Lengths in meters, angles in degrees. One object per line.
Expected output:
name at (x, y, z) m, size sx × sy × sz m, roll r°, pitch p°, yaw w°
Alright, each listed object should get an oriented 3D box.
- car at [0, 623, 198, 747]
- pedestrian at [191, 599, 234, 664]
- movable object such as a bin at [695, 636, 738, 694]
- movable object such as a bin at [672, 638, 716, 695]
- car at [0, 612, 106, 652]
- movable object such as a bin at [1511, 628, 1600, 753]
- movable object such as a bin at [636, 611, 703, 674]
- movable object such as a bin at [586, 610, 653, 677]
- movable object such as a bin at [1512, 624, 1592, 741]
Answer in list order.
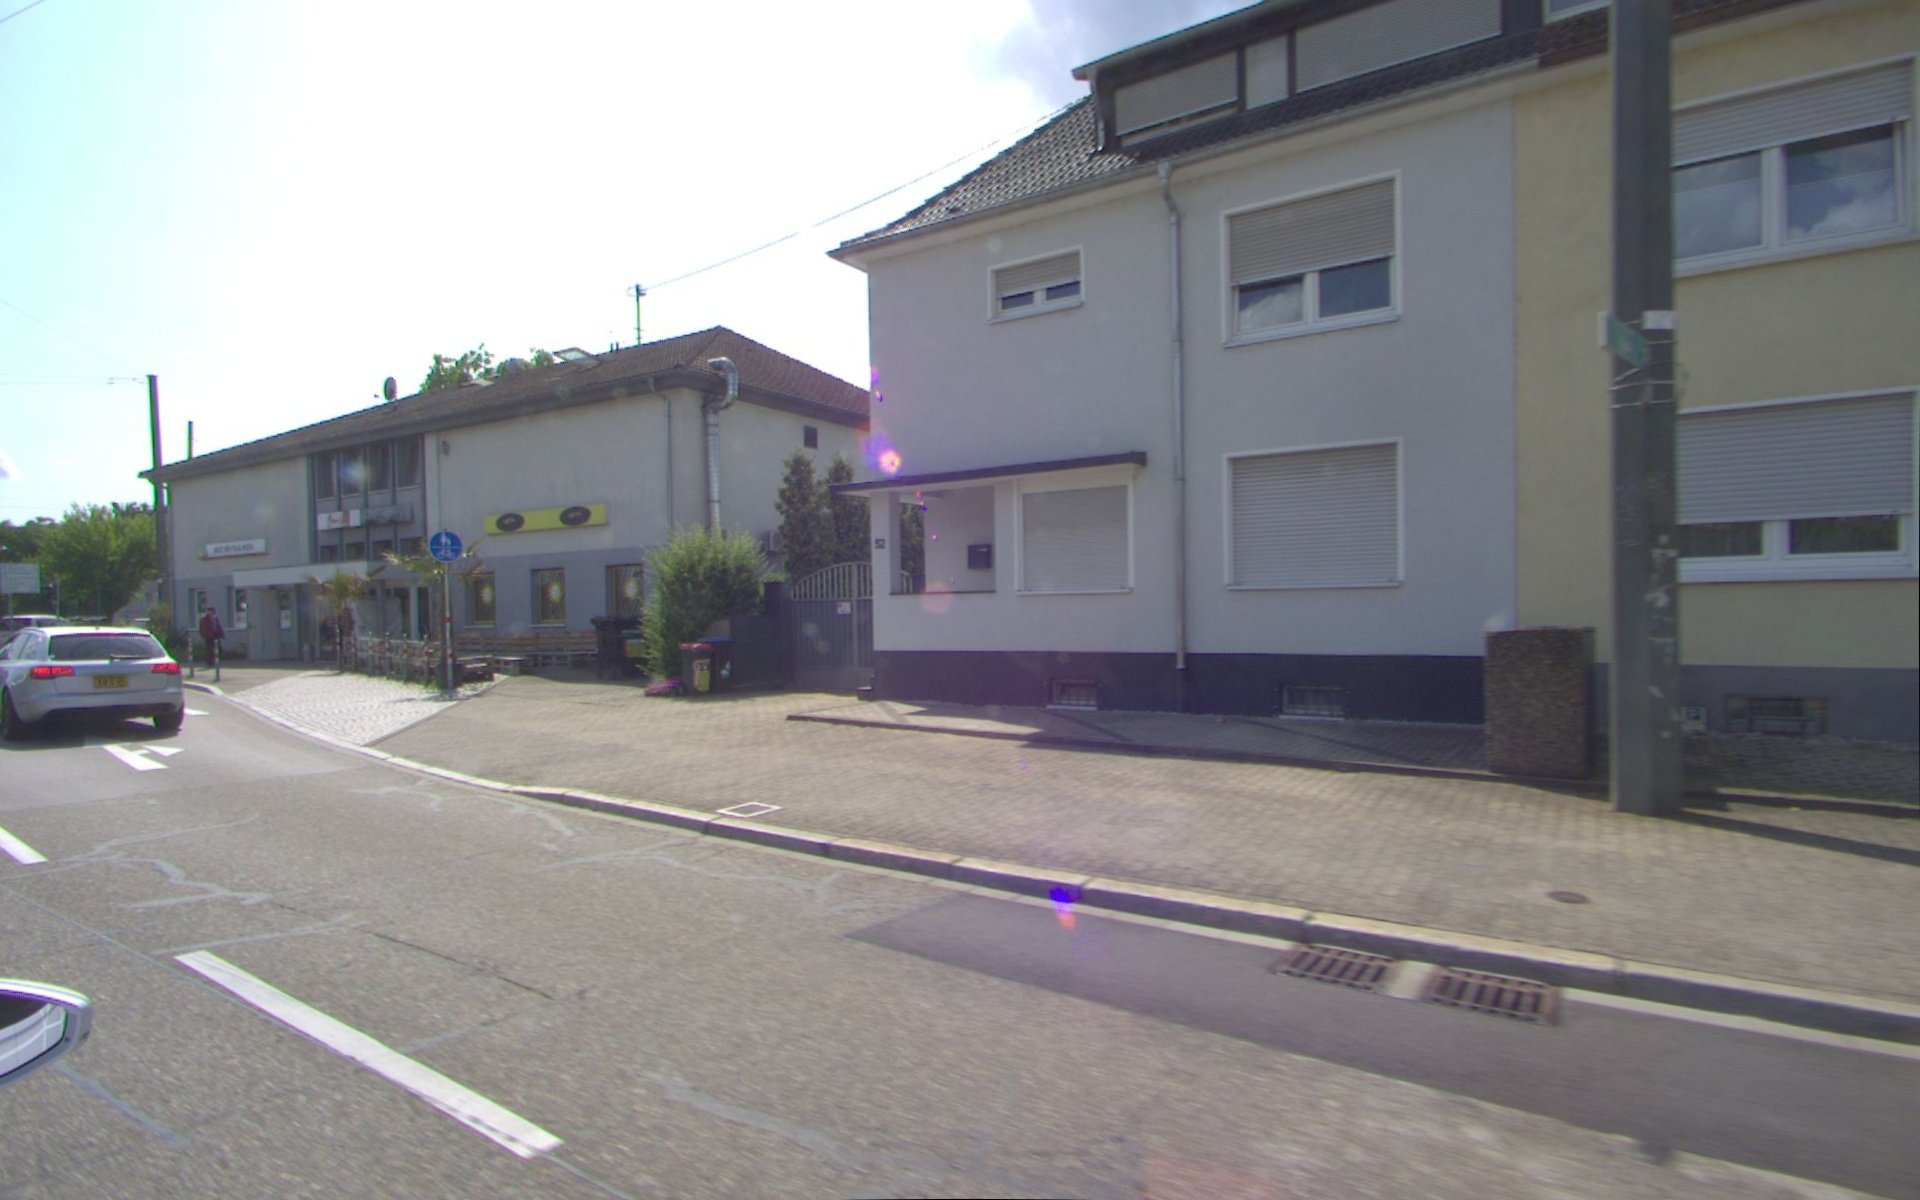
car at (-12.949, 1.110, 14.604) m, size 4.479 × 1.512 × 1.847 m, roll -1°, pitch -1°, yaw 38°
pedestrian at (-21.675, 0.899, 29.056) m, size 0.693 × 1.807 × 0.719 m, roll 0°, pitch 3°, yaw 34°
movable object such as a bin at (-4.128, 1.086, 16.990) m, size 0.541 × 0.947 × 0.440 m, roll 0°, pitch 1°, yaw 27°
movable object such as a bin at (-4.392, 1.097, 16.563) m, size 0.537 × 0.907 × 0.444 m, roll 0°, pitch 1°, yaw 27°
car at (-44.025, 1.511, 48.451) m, size 1.854 × 1.753 × 4.094 m, roll -2°, pitch 0°, yaw -1°
movable object such as a bin at (5.370, 0.791, 9.037) m, size 0.675 × 1.061 × 0.637 m, roll 0°, pitch 0°, yaw 32°
movable object such as a bin at (-6.636, 0.946, 22.891) m, size 0.876 × 1.351 × 1.199 m, roll 3°, pitch 3°, yaw 40°
movable object such as a bin at (-7.390, 0.921, 21.733) m, size 0.874 × 1.351 × 1.079 m, roll 2°, pitch 2°, yaw 34°
movable object such as a bin at (5.707, 0.771, 9.656) m, size 0.650 × 1.069 × 0.644 m, roll 0°, pitch 0°, yaw 32°
